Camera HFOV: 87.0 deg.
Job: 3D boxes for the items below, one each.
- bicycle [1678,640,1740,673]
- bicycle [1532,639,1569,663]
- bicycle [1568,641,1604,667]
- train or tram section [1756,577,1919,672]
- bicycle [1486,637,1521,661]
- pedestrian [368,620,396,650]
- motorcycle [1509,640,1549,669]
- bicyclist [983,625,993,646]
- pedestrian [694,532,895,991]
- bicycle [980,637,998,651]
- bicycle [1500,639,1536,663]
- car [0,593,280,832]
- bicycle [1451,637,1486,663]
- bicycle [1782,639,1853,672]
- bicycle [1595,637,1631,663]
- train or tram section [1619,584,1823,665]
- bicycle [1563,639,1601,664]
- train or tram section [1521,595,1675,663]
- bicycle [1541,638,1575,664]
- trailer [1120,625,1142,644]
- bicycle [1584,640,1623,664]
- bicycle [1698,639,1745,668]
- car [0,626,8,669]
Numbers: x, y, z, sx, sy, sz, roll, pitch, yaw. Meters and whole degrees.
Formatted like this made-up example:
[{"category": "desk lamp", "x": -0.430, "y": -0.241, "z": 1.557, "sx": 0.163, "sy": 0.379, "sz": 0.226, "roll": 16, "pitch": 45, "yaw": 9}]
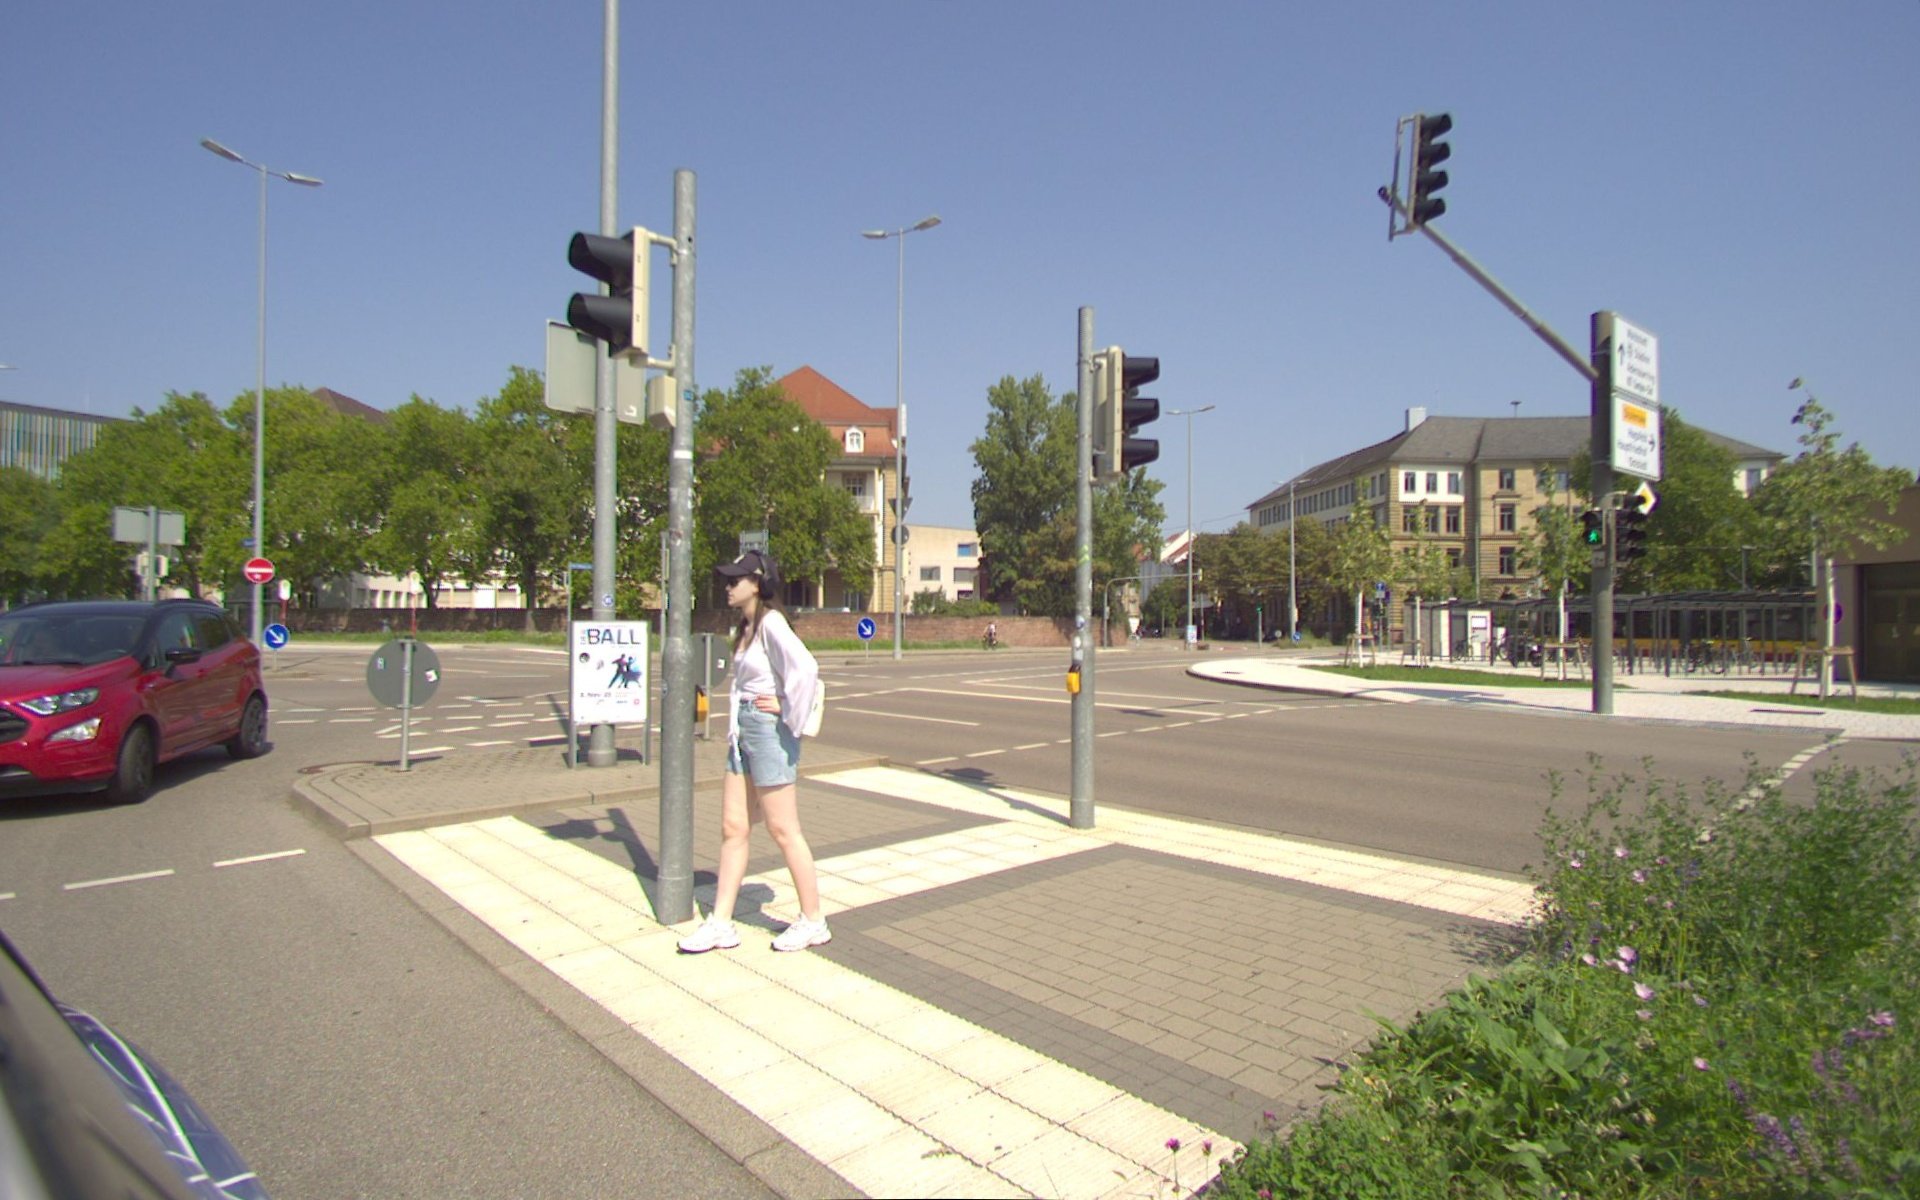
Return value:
[{"category": "bicycle", "x": 24.434, "y": 1.841, "z": 33.048, "sx": 0.505, "sy": 1.048, "sz": 1.739, "roll": 1, "pitch": -2, "yaw": -11}, {"category": "bicycle", "x": 26.017, "y": 2.239, "z": 44.630, "sx": 0.519, "sy": 1.048, "sz": 1.771, "roll": 1, "pitch": -2, "yaw": -2}, {"category": "bicycle", "x": 26.070, "y": 2.224, "z": 42.148, "sx": 0.407, "sy": 1.048, "sz": 1.641, "roll": 1, "pitch": -2, "yaw": -2}, {"category": "train or tram section", "x": 37.909, "y": 1.107, "z": 41.580, "sx": 3.114, "sy": 3.625, "sz": 8.533, "roll": 1, "pitch": -3, "yaw": -4}, {"category": "bicycle", "x": 23.728, "y": 2.131, "z": 44.224, "sx": 0.519, "sy": 1.048, "sz": 1.771, "roll": 1, "pitch": -2, "yaw": -2}, {"category": "pedestrian", "x": -39.885, "y": 2.436, "z": 69.837, "sx": 1.222, "sy": 2.029, "sz": 1.068, "roll": 0, "pitch": -2, "yaw": 12}, {"category": "motorcycle", "x": 21.583, "y": 2.050, "z": 38.418, "sx": 0.484, "sy": 1.077, "sz": 1.780, "roll": 1, "pitch": -2, "yaw": -2}, {"category": "bicyclist", "x": 1.680, "y": 2.145, "z": 60.401, "sx": 0.431, "sy": 1.242, "sz": 0.535, "roll": -1, "pitch": -2, "yaw": 29}, {"category": "pedestrian", "x": -0.698, "y": 0.611, "z": 4.191, "sx": 0.688, "sy": 1.708, "sz": 0.609, "roll": 1, "pitch": -2, "yaw": -21}, {"category": "bicycle", "x": 1.727, "y": 2.601, "z": 60.472, "sx": 0.435, "sy": 0.818, "sz": 1.471, "roll": -1, "pitch": -2, "yaw": 28}, {"category": "bicycle", "x": 24.419, "y": 2.218, "z": 44.321, "sx": 0.519, "sy": 1.048, "sz": 1.771, "roll": 1, "pitch": -2, "yaw": -2}, {"category": "car", "x": -7.612, "y": 0.841, "z": 8.712, "sx": 1.814, "sy": 1.627, "sz": 4.012, "roll": -1, "pitch": -2, "yaw": -17}, {"category": "bicycle", "x": 22.230, "y": 2.186, "z": 44.262, "sx": 0.519, "sy": 1.090, "sz": 1.866, "roll": 1, "pitch": -2, "yaw": -2}, {"category": "bicycle", "x": 27.833, "y": 1.799, "z": 32.893, "sx": 0.504, "sy": 1.048, "sz": 1.740, "roll": 1, "pitch": -2, "yaw": -17}, {"category": "bicycle", "x": 27.343, "y": 2.082, "z": 42.407, "sx": 0.407, "sy": 1.048, "sz": 1.641, "roll": 1, "pitch": -2, "yaw": -2}, {"category": "train or tram section", "x": 37.245, "y": 1.324, "z": 50.077, "sx": 3.114, "sy": 3.625, "sz": 8.533, "roll": 1, "pitch": -3, "yaw": -4}, {"category": "bicycle", "x": 27.340, "y": 2.264, "z": 44.498, "sx": 0.519, "sy": 1.048, "sz": 1.771, "roll": 1, "pitch": -2, "yaw": -2}, {"category": "train or tram section", "x": 36.571, "y": 1.765, "z": 58.480, "sx": 3.090, "sy": 3.588, "sz": 8.336, "roll": 2, "pitch": -3, "yaw": -4}, {"category": "bicycle", "x": 25.004, "y": 2.136, "z": 42.355, "sx": 0.407, "sy": 1.048, "sz": 1.641, "roll": 1, "pitch": -2, "yaw": -2}, {"category": "trailer", "x": 29.350, "y": 5.927, "z": 173.663, "sx": 2.404, "sy": 3.313, "sz": 5.096, "roll": 0, "pitch": -2, "yaw": -6}, {"category": "bicycle", "x": 28.468, "y": 2.291, "z": 44.800, "sx": 0.519, "sy": 1.048, "sz": 1.771, "roll": 1, "pitch": -2, "yaw": -2}, {"category": "bicycle", "x": 27.936, "y": 1.950, "z": 37.166, "sx": 0.407, "sy": 1.048, "sz": 1.641, "roll": 1, "pitch": -2, "yaw": -2}, {"category": "car", "x": -32.037, "y": 1.522, "z": 32.287, "sx": 3.415, "sy": 1.367, "sz": 1.771, "roll": -1, "pitch": -1, "yaw": 35}]
